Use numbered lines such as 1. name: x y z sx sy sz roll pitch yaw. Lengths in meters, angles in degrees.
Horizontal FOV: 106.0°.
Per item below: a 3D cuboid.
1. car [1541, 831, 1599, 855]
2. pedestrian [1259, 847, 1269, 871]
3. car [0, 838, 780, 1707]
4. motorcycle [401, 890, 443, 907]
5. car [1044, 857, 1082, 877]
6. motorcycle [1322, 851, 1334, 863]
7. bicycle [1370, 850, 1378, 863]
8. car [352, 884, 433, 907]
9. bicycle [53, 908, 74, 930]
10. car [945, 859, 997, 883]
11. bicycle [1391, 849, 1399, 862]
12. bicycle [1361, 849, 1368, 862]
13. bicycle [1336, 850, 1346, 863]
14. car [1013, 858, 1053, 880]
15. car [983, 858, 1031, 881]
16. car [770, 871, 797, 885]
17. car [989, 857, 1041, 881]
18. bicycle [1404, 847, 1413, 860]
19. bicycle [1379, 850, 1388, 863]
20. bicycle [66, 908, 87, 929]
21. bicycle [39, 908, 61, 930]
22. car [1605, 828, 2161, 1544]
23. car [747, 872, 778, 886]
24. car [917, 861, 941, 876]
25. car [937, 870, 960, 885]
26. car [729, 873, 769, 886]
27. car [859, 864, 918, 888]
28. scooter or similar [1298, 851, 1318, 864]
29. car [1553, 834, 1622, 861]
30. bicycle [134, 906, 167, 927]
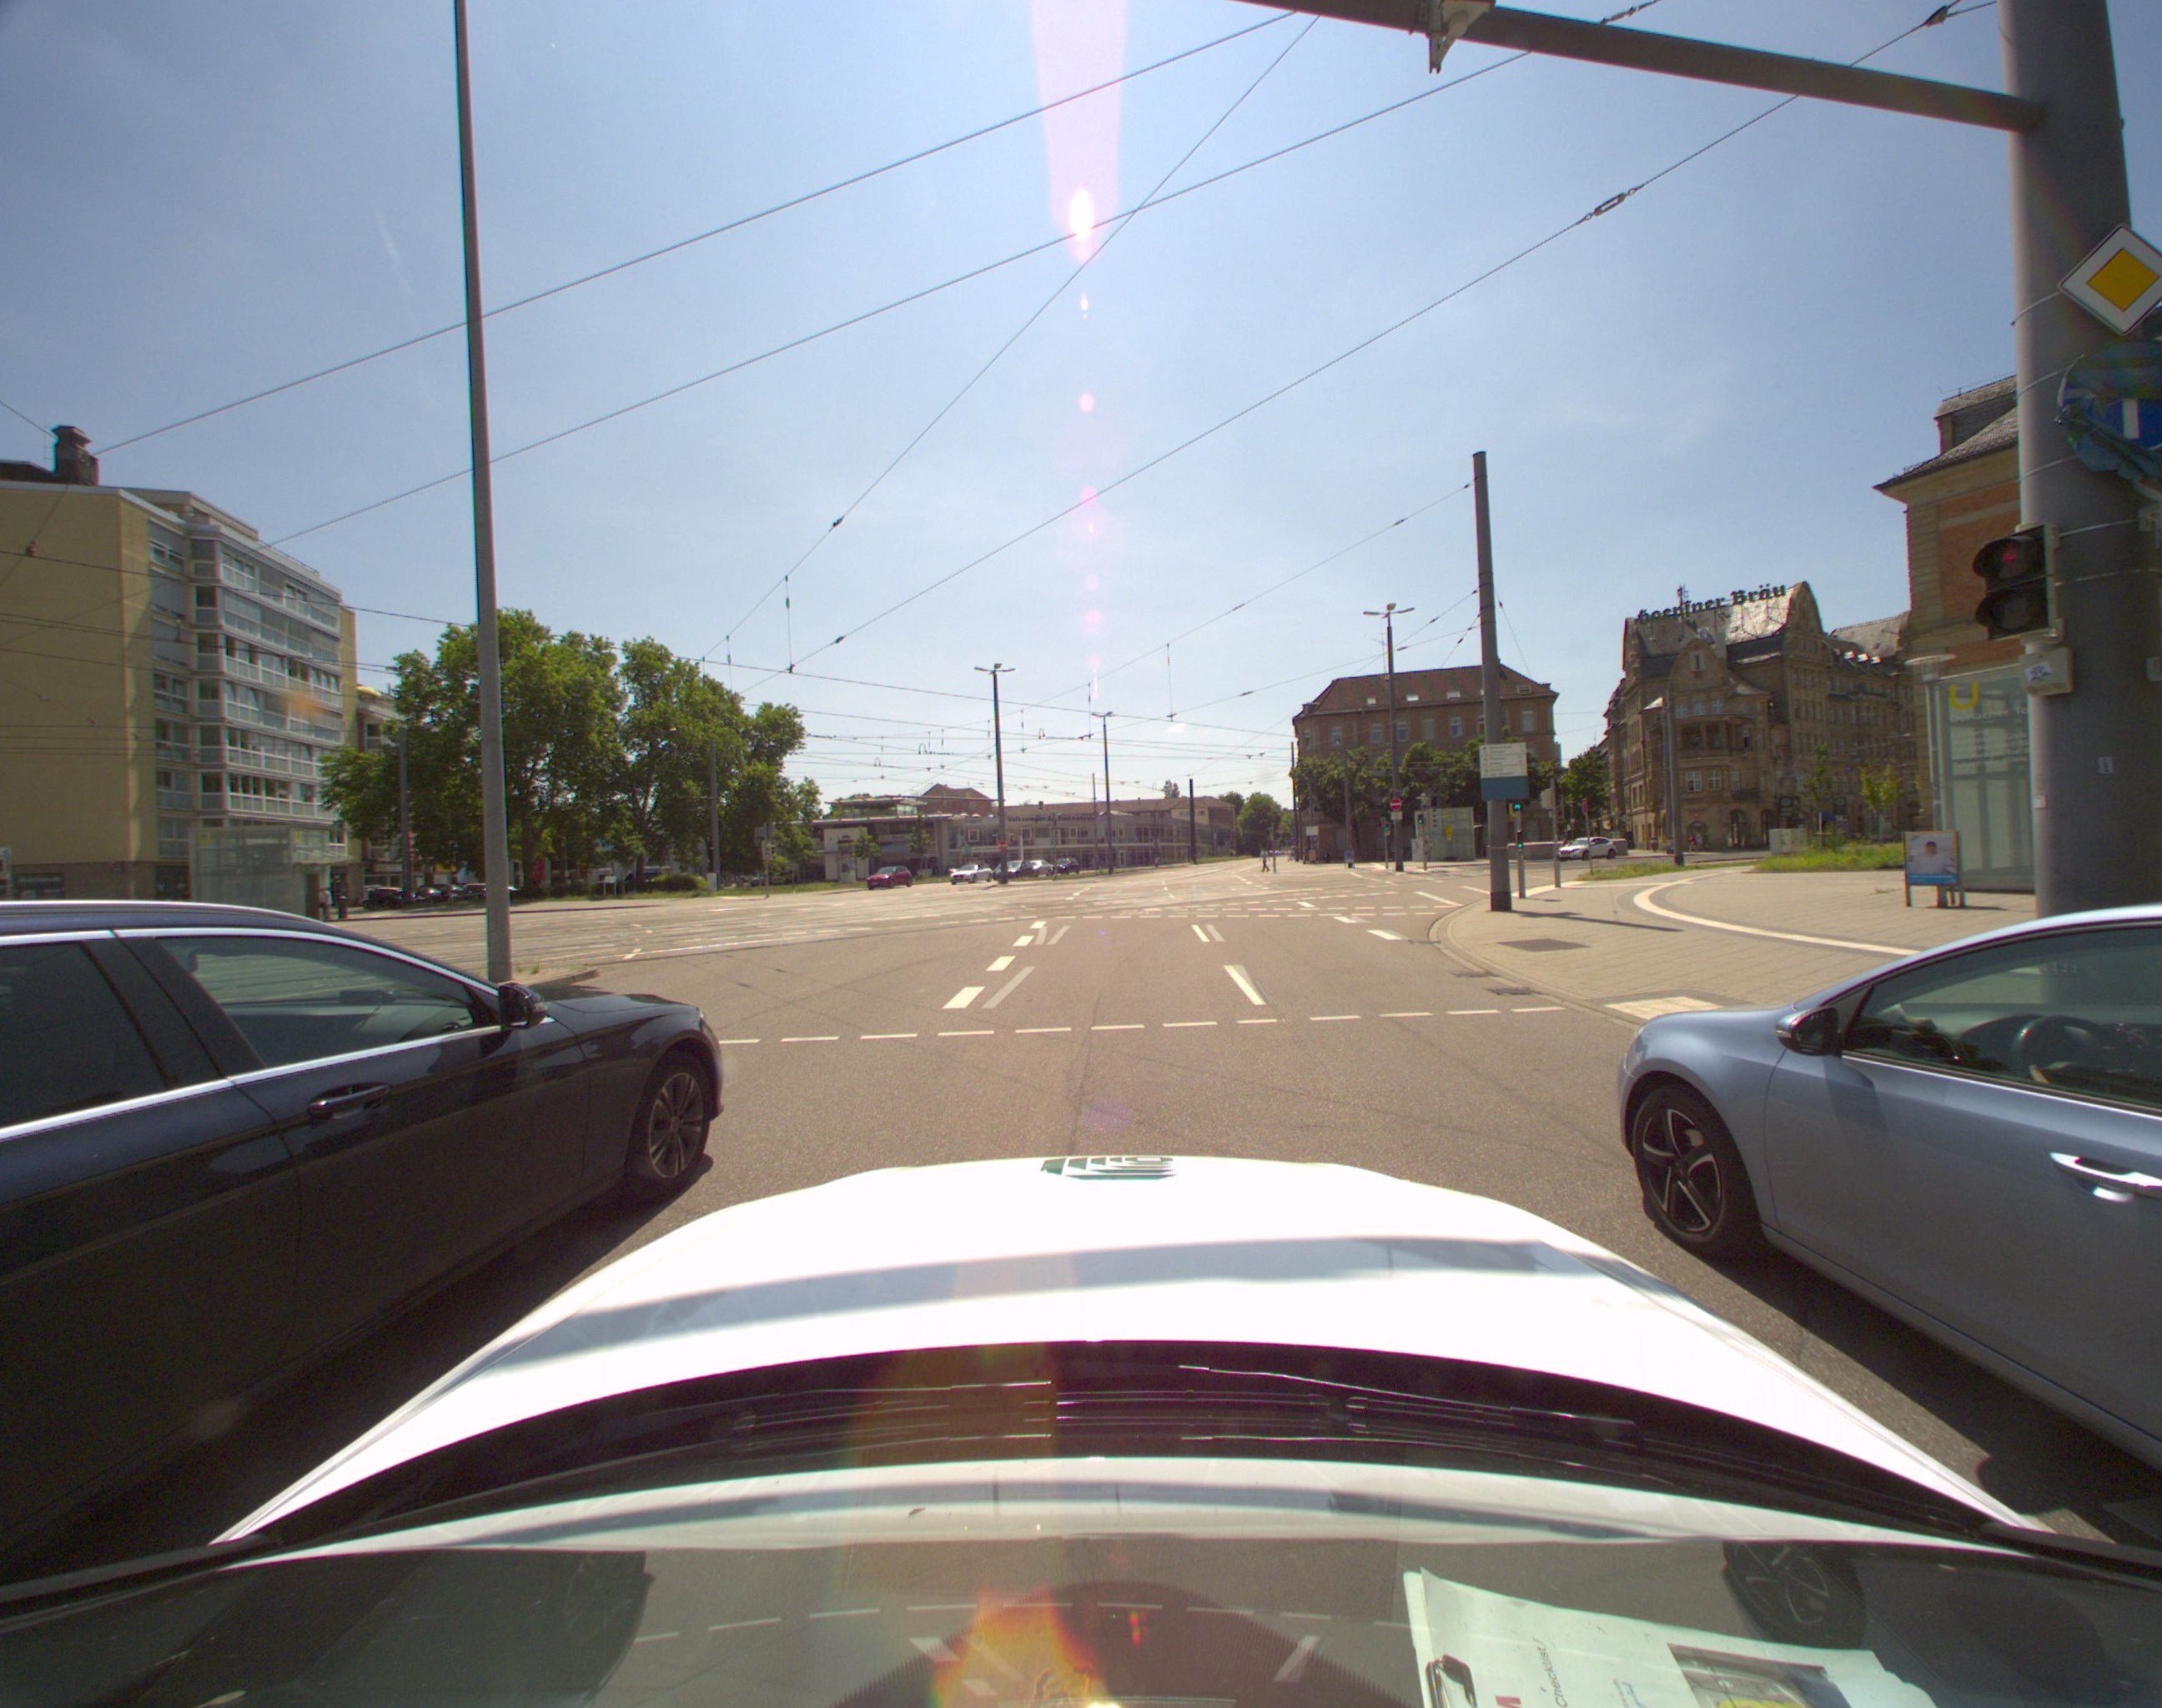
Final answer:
1. car: 35.322 -0.789 58.815 3.656 1.605 1.681 -2 0 -23
2. pedestrian: 13.490 0.352 60.014 0.462 1.708 0.636 -2 -1 -16
3. car: -2.741 0.808 2.172 1.789 1.640 4.809 -1 0 4
4. motorcycle: -40.732 2.733 50.336 1.926 0.961 0.521 -2 -1 -29
5. car: -1.690 1.239 79.080 2.062 1.682 4.869 -3 0 18
6. motorcycle: 22.553 0.300 74.413 0.577 1.074 1.949 -2 0 5
7. bicycle: 26.587 0.229 73.894 0.546 1.120 1.828 -2 0 18
8. car: -49.766 2.970 58.971 4.005 1.420 1.984 -2 -1 -23
9. bicycle: -51.677 3.286 41.369 0.435 1.027 1.426 -2 -1 -43
10. car: -8.075 1.237 60.233 2.061 1.580 4.865 -3 0 15
11. bicycle: 28.578 0.124 74.166 0.546 1.120 1.879 -2 0 18
12. bicycle: 25.797 0.140 74.156 0.546 1.120 1.828 -2 0 18
13. bicycle: 23.749 0.228 74.413 0.548 1.120 1.824 -2 0 8
14. car: -4.202 1.300 72.258 1.977 1.739 4.565 -3 0 18
15. car: -5.966 1.212 66.342 1.977 1.700 4.869 -3 0 18
16. car: -35.675 2.903 97.758 1.763 1.510 4.321 -2 0 -3
17. car: -4.830 1.080 60.495 1.977 1.637 4.869 -3 0 18
18. bicycle: 29.802 -0.027 74.119 0.546 1.120 1.938 -2 0 18
19. bicycle: 27.423 0.219 73.833 0.546 1.120 1.898 -2 0 18
20. bicycle: -51.256 3.287 41.561 0.435 1.027 1.426 -2 -1 -43
21. bicycle: -52.141 3.286 41.197 0.435 1.027 1.426 -2 -1 -43
22. car: 3.011 0.666 1.494 1.645 1.459 4.006 -1 0 2
23. car: -38.323 3.040 98.152 1.760 1.510 4.329 -2 0 2
24. car: -18.008 1.758 96.447 1.913 1.707 4.001 0 -1 2
25. car: -15.727 2.817 96.607 1.913 1.707 4.001 0 -1 2
26. car: -42.236 3.231 103.653 4.344 1.510 1.754 -2 -1 -34
27. car: -13.830 1.553 58.828 1.979 1.465 4.865 -3 0 15
28. scooter or similar: 21.580 0.324 77.504 1.793 1.181 0.595 -2 -1 -22
29. car: 33.261 -0.431 53.448 4.197 1.605 1.681 -2 0 -23
30. bicycle: -49.744 3.318 43.547 0.432 1.027 1.437 -2 0 -14
